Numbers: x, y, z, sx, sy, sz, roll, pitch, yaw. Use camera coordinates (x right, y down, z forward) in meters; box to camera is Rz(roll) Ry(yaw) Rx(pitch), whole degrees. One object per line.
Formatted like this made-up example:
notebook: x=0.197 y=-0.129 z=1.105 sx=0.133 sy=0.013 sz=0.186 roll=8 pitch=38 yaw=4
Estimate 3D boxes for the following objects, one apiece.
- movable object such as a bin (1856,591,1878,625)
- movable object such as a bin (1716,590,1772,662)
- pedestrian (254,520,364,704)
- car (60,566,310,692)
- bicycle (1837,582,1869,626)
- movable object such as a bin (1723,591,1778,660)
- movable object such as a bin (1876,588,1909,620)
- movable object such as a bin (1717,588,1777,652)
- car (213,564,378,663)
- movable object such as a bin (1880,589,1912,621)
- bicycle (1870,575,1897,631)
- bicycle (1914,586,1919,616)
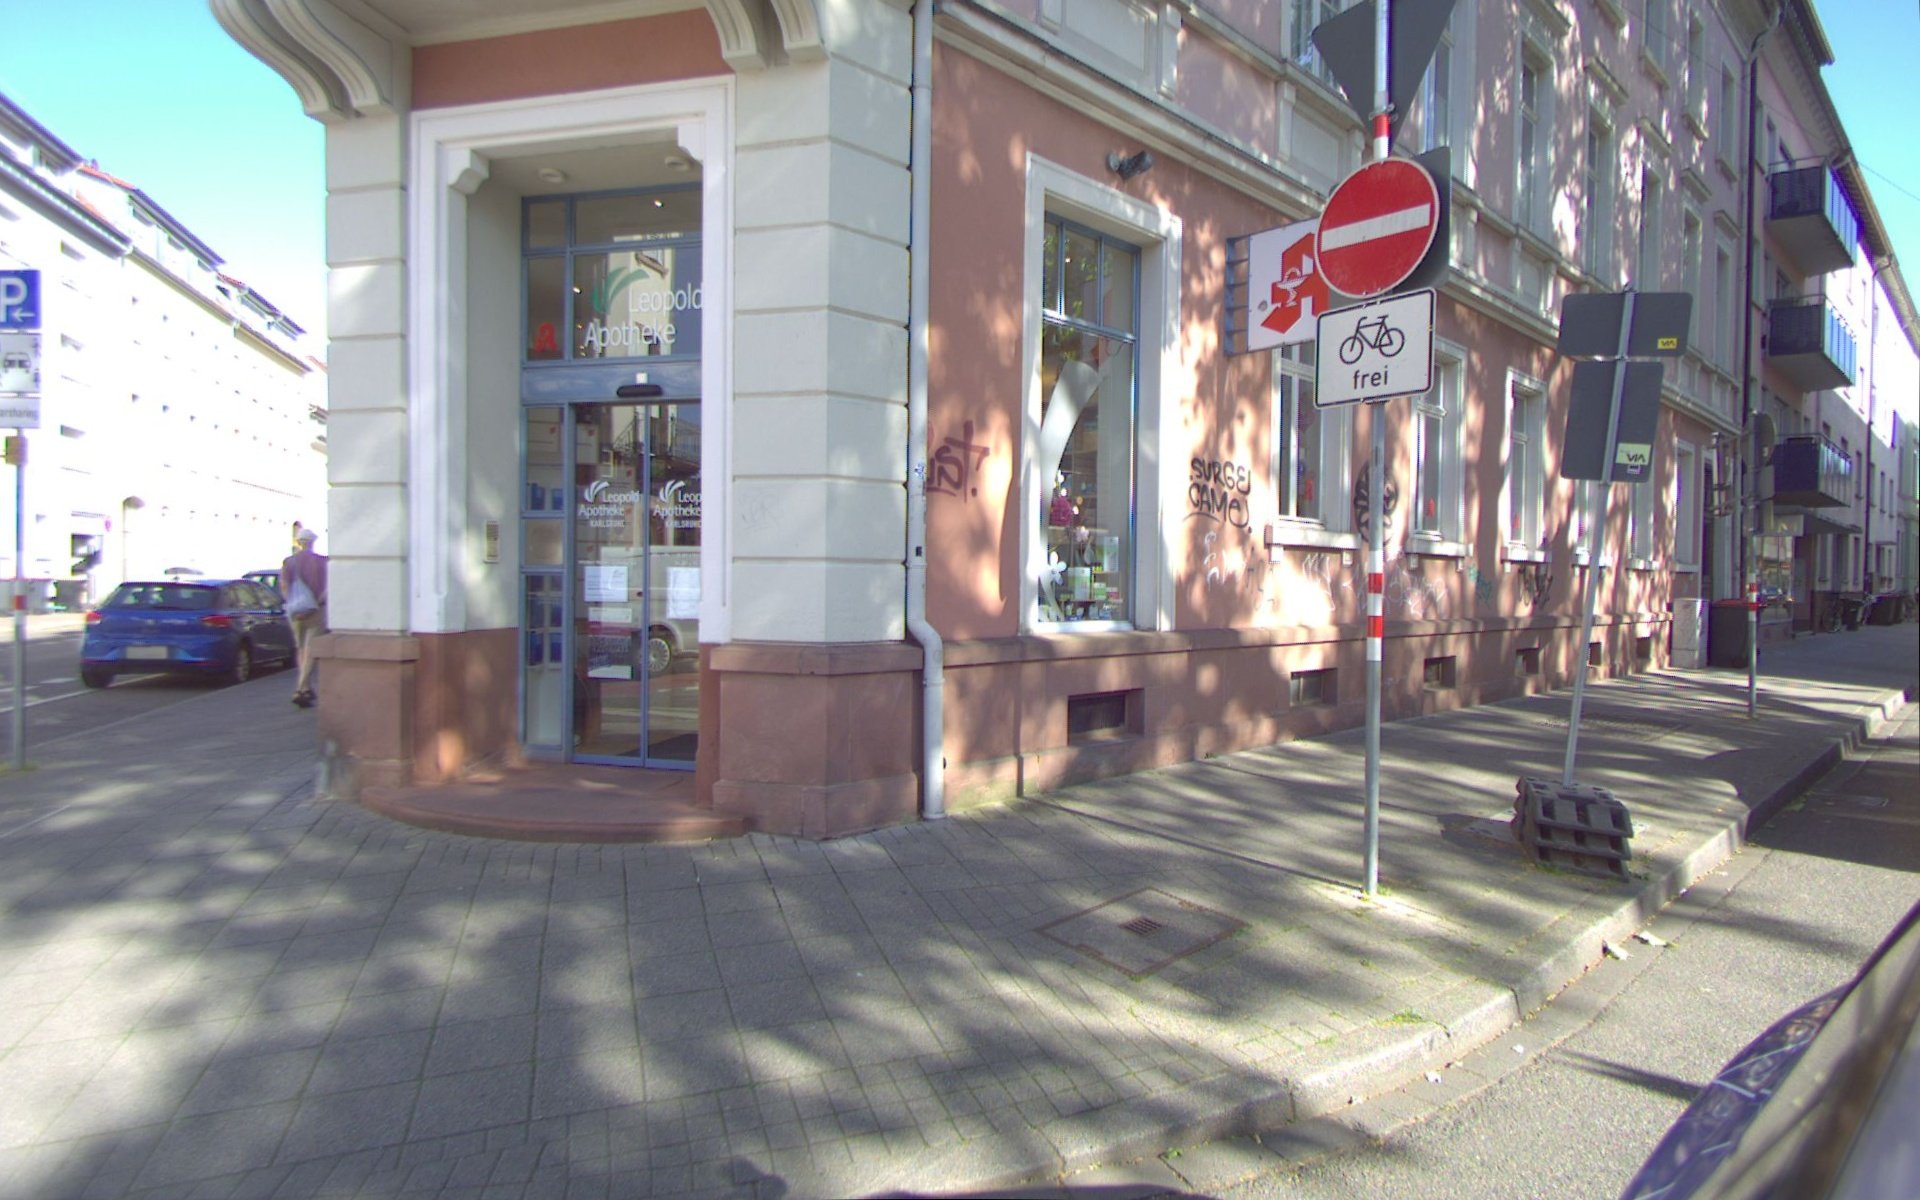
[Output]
movable object such as a bin: x=26.265 y=0.235 z=29.306 sx=0.297 sy=0.951 sz=0.415 roll=0 pitch=4 yaw=-43
movable object such as a bin: x=12.721 y=0.411 z=16.423 sx=0.643 sy=1.097 sz=0.570 roll=0 pitch=4 yaw=-43
pedestrian: x=-6.651 y=0.088 z=10.332 sx=0.816 sy=1.786 sz=0.751 roll=-3 pitch=3 yaw=-38
car: x=-10.597 y=0.319 z=14.154 sx=1.671 sy=1.451 sz=3.648 roll=3 pitch=1 yaw=-19
bicycle: x=24.377 y=0.088 z=27.612 sx=1.990 sy=1.164 sz=0.402 roll=-1 pitch=1 yaw=-42
movable object such as a bin: x=13.159 y=0.413 z=16.846 sx=0.602 sy=1.071 sz=0.570 roll=0 pitch=4 yaw=-43
movable object such as a bin: x=31.323 y=0.143 z=34.001 sx=0.537 sy=1.014 sz=0.716 roll=0 pitch=4 yaw=-43
movable object such as a bin: x=14.353 y=0.353 z=18.465 sx=0.608 sy=1.097 sz=0.717 roll=0 pitch=4 yaw=-43
car: x=-12.164 y=0.181 z=18.763 sx=1.671 sy=1.556 sz=3.648 roll=3 pitch=1 yaw=-19
movable object such as a bin: x=31.796 y=0.157 z=34.384 sx=0.537 sy=1.014 sz=0.716 roll=0 pitch=4 yaw=-43
bicycle: x=29.949 y=0.075 z=32.821 sx=2.070 sy=1.757 sz=0.402 roll=-1 pitch=1 yaw=-42
bicycle: x=37.312 y=0.034 z=39.109 sx=1.899 sy=1.109 sz=0.489 roll=-1 pitch=1 yaw=-42
